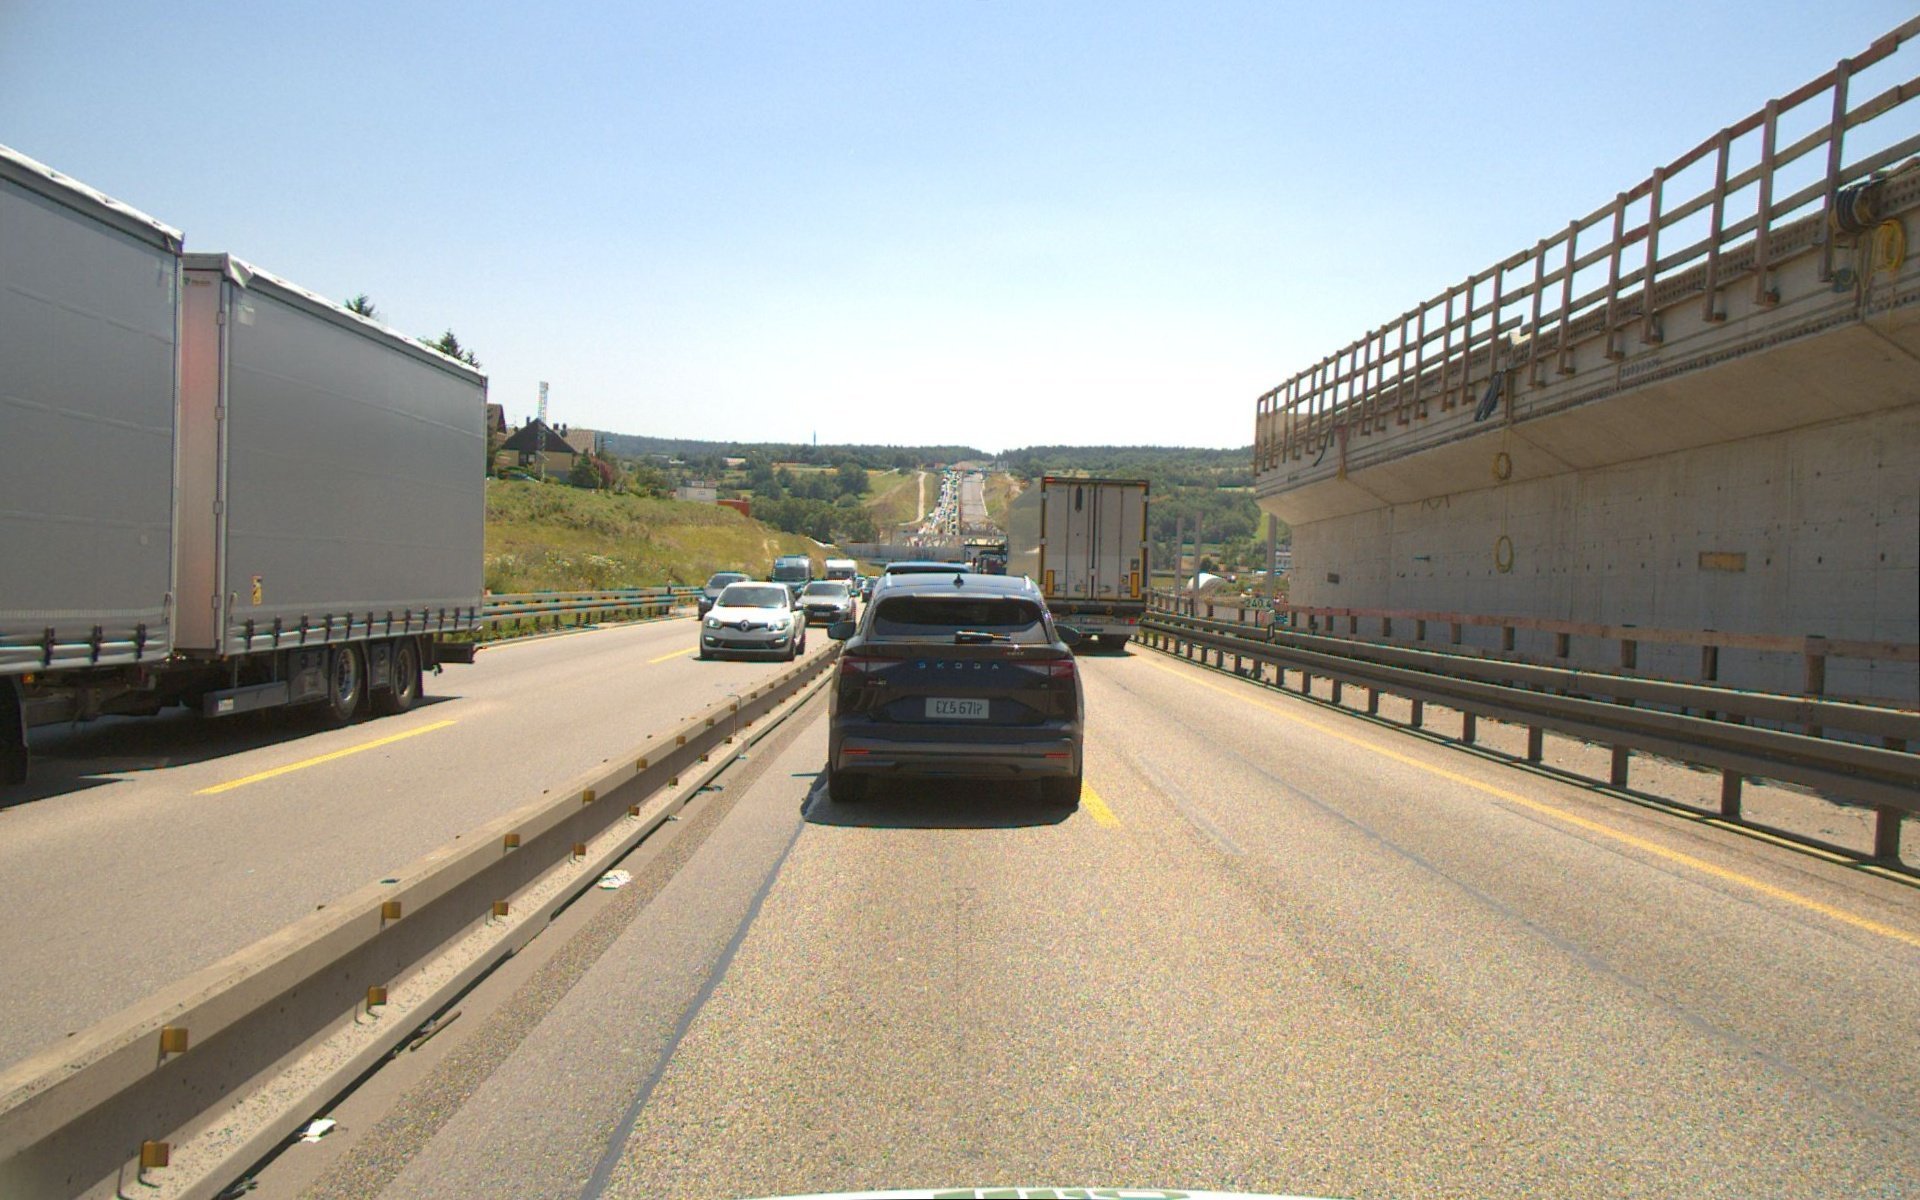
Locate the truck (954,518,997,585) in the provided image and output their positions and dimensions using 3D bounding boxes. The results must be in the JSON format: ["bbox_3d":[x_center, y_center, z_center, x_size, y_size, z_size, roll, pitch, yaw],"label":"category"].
[{"bbox_3d":[1.080,-3.535,124.796,2.794,4.543,11.913,1,0,-1],"label":"truck"}]

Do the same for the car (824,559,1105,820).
[{"bbox_3d":[0.021,0.567,12.609,1.765,1.635,4.000,1,0,0],"label":"car"}]

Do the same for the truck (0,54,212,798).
[{"bbox_3d":[-7.046,-1.054,7.571,2.567,4.473,10.383,1,0,-1],"label":"truck"}]

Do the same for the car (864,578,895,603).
[{"bbox_3d":[-5.154,-0.635,105.883,1.805,1.501,4.834,1,1,-1],"label":"car"}]

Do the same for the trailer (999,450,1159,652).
[{"bbox_3d":[2.916,-1.262,44.888,3.116,4.591,13.107,1,1,-1],"label":"trailer"}]

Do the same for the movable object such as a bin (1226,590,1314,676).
[{"bbox_3d":[18.254,1.893,98.034,3.162,4.826,9.652,1,0,-1],"label":"movable object such as a bin"}]

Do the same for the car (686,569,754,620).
[{"bbox_3d":[-8.261,-0.204,57.225,1.737,1.609,4.285,2,0,-1],"label":"car"}]

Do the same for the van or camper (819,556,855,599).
[{"bbox_3d":[-9.364,-1.696,126.469,2.244,3.120,6.923,1,1,-1],"label":"van or camper"}]

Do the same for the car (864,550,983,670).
[{"bbox_3d":[-0.651,0.186,30.001,1.953,1.959,4.506,1,0,-1],"label":"car"}]

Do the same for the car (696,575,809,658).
[{"bbox_3d":[-4.009,0.296,32.502,1.766,1.489,3.999,1,0,-1],"label":"car"}]

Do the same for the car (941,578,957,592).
[{"bbox_3d":[-1.217,-1.711,189.245,1.776,1.629,4.573,1,1,0],"label":"car"}]

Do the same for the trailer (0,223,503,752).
[{"bbox_3d":[-7.344,-0.897,17.151,2.870,4.058,8.704,1,0,-1],"label":"trailer"}]

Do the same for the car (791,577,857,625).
[{"bbox_3d":[-4.318,0.009,53.130,1.792,1.458,4.628,1,0,-1],"label":"car"}]

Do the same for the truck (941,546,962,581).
[{"bbox_3d":[-1.143,-4.778,218.015,2.586,4.267,9.282,1,0,-1],"label":"truck"}]

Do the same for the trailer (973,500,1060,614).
[{"bbox_3d":[2.358,-1.692,75.219,3.116,4.592,14.963,1,0,-1],"label":"trailer"}]

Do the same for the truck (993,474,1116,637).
[{"bbox_3d":[2.791,-1.348,51.389,3.116,4.591,8.165,1,1,-1],"label":"truck"}]

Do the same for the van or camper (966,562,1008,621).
[{"bbox_3d":[1.600,-0.462,98.426,2.339,3.338,6.469,1,-1,1],"label":"van or camper"}]

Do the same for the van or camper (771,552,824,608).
[{"bbox_3d":[-8.171,-1.007,83.666,2.096,2.618,6.563,2,1,-1],"label":"van or camper"}]

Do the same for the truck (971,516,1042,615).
[{"bbox_3d":[2.230,-1.601,82.309,3.116,4.592,8.163,1,-1,-1],"label":"truck"}]
